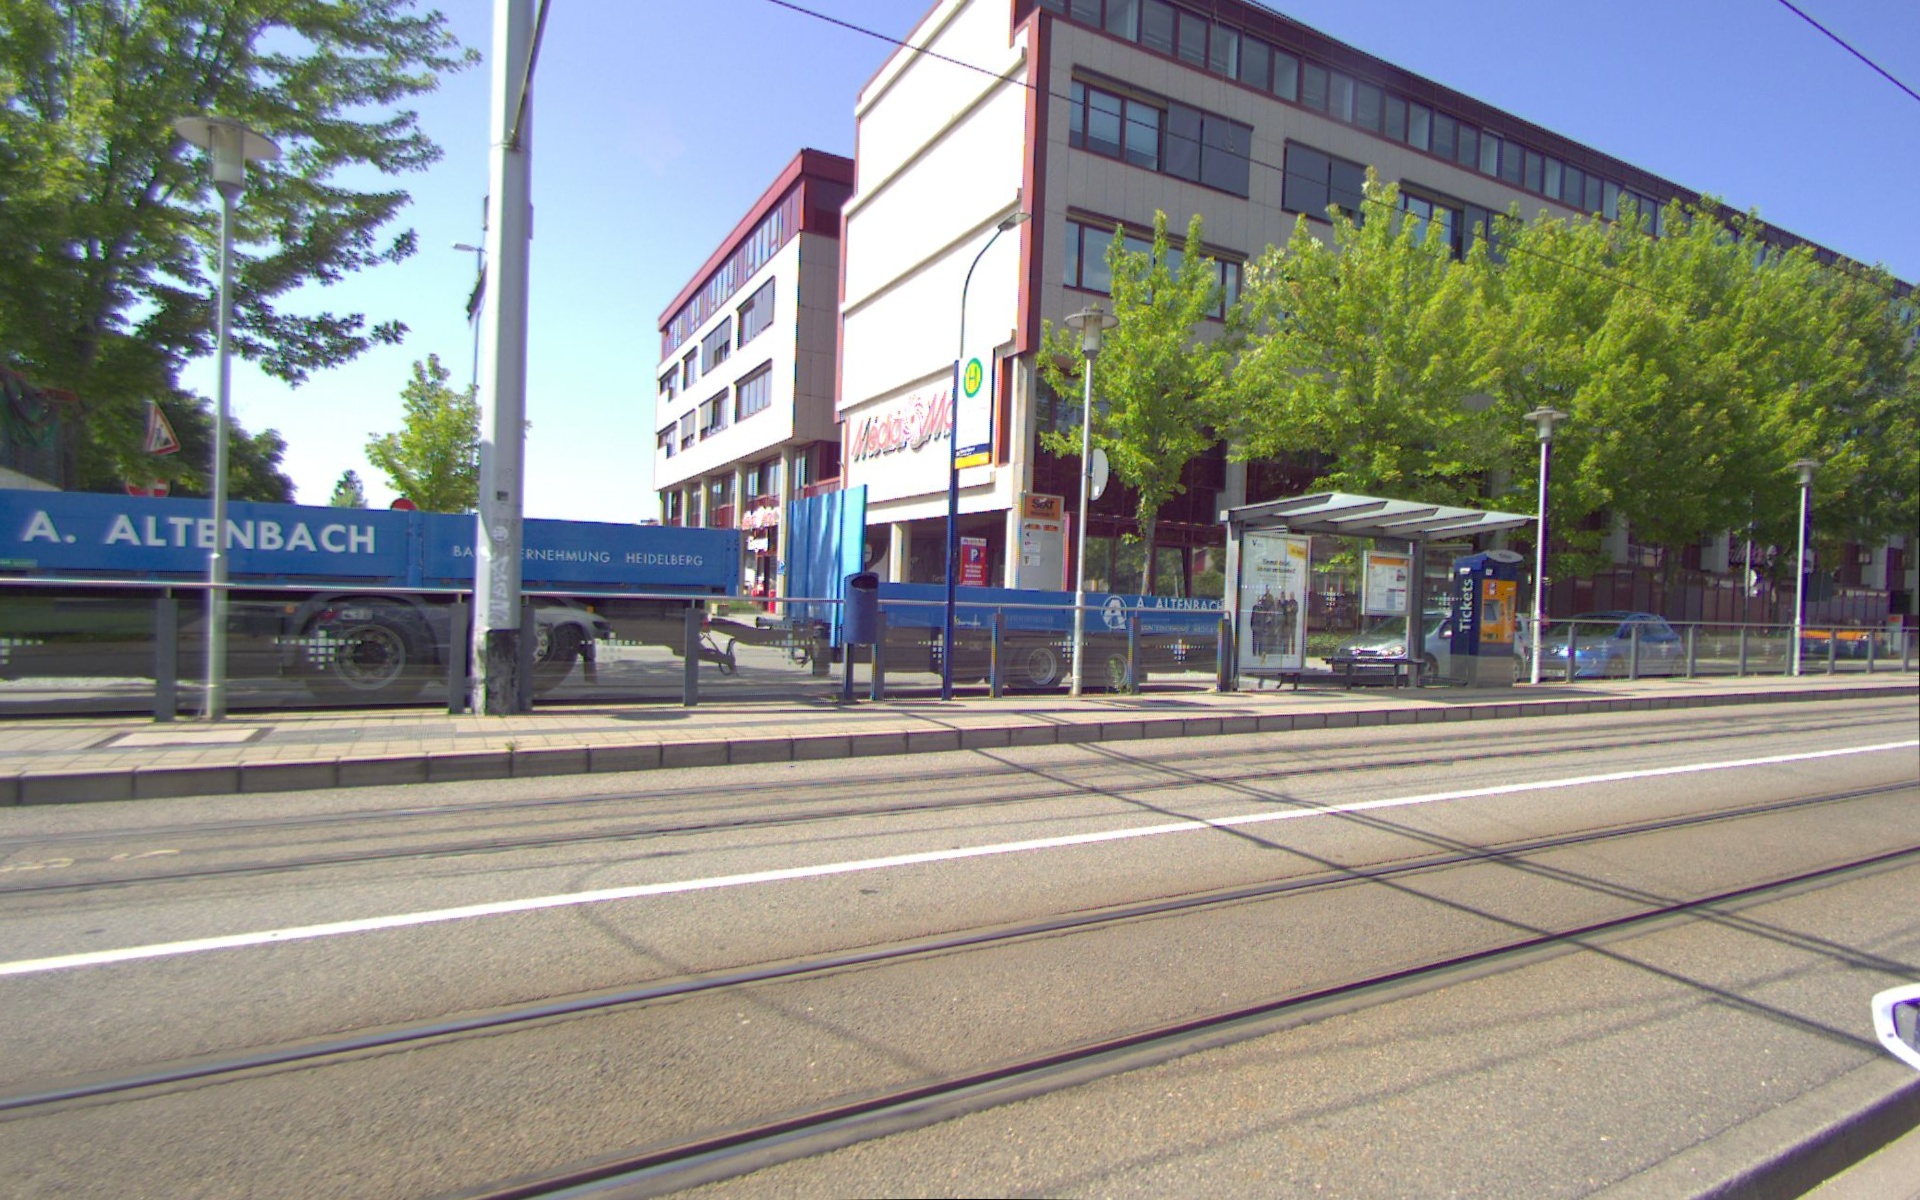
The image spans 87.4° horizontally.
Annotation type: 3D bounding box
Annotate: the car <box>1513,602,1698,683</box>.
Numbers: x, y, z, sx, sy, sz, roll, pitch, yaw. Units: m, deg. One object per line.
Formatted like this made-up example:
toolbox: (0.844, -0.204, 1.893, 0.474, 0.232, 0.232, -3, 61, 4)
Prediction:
car: (13.894, 0.895, 21.597, 4.023, 1.605, 1.715, 1, -2, -30)

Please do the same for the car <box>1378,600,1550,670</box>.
car: (12.036, 0.801, 23.968, 3.855, 1.483, 1.715, 1, 2, -28)

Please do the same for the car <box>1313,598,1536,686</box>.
car: (8.805, 0.761, 18.963, 4.229, 1.492, 1.714, 1, -1, -30)

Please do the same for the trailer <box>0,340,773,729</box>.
trailer: (-5.673, -0.481, 10.441, 6.816, 3.017, 2.730, 1, 1, -30)

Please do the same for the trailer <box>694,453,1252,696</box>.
trailer: (0.386, -0.238, 14.141, 7.513, 2.663, 2.782, 1, 1, -31)

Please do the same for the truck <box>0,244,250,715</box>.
truck: (-9.175, -0.975, 8.394, 4.980, 3.657, 2.730, 1, 1, -30)
